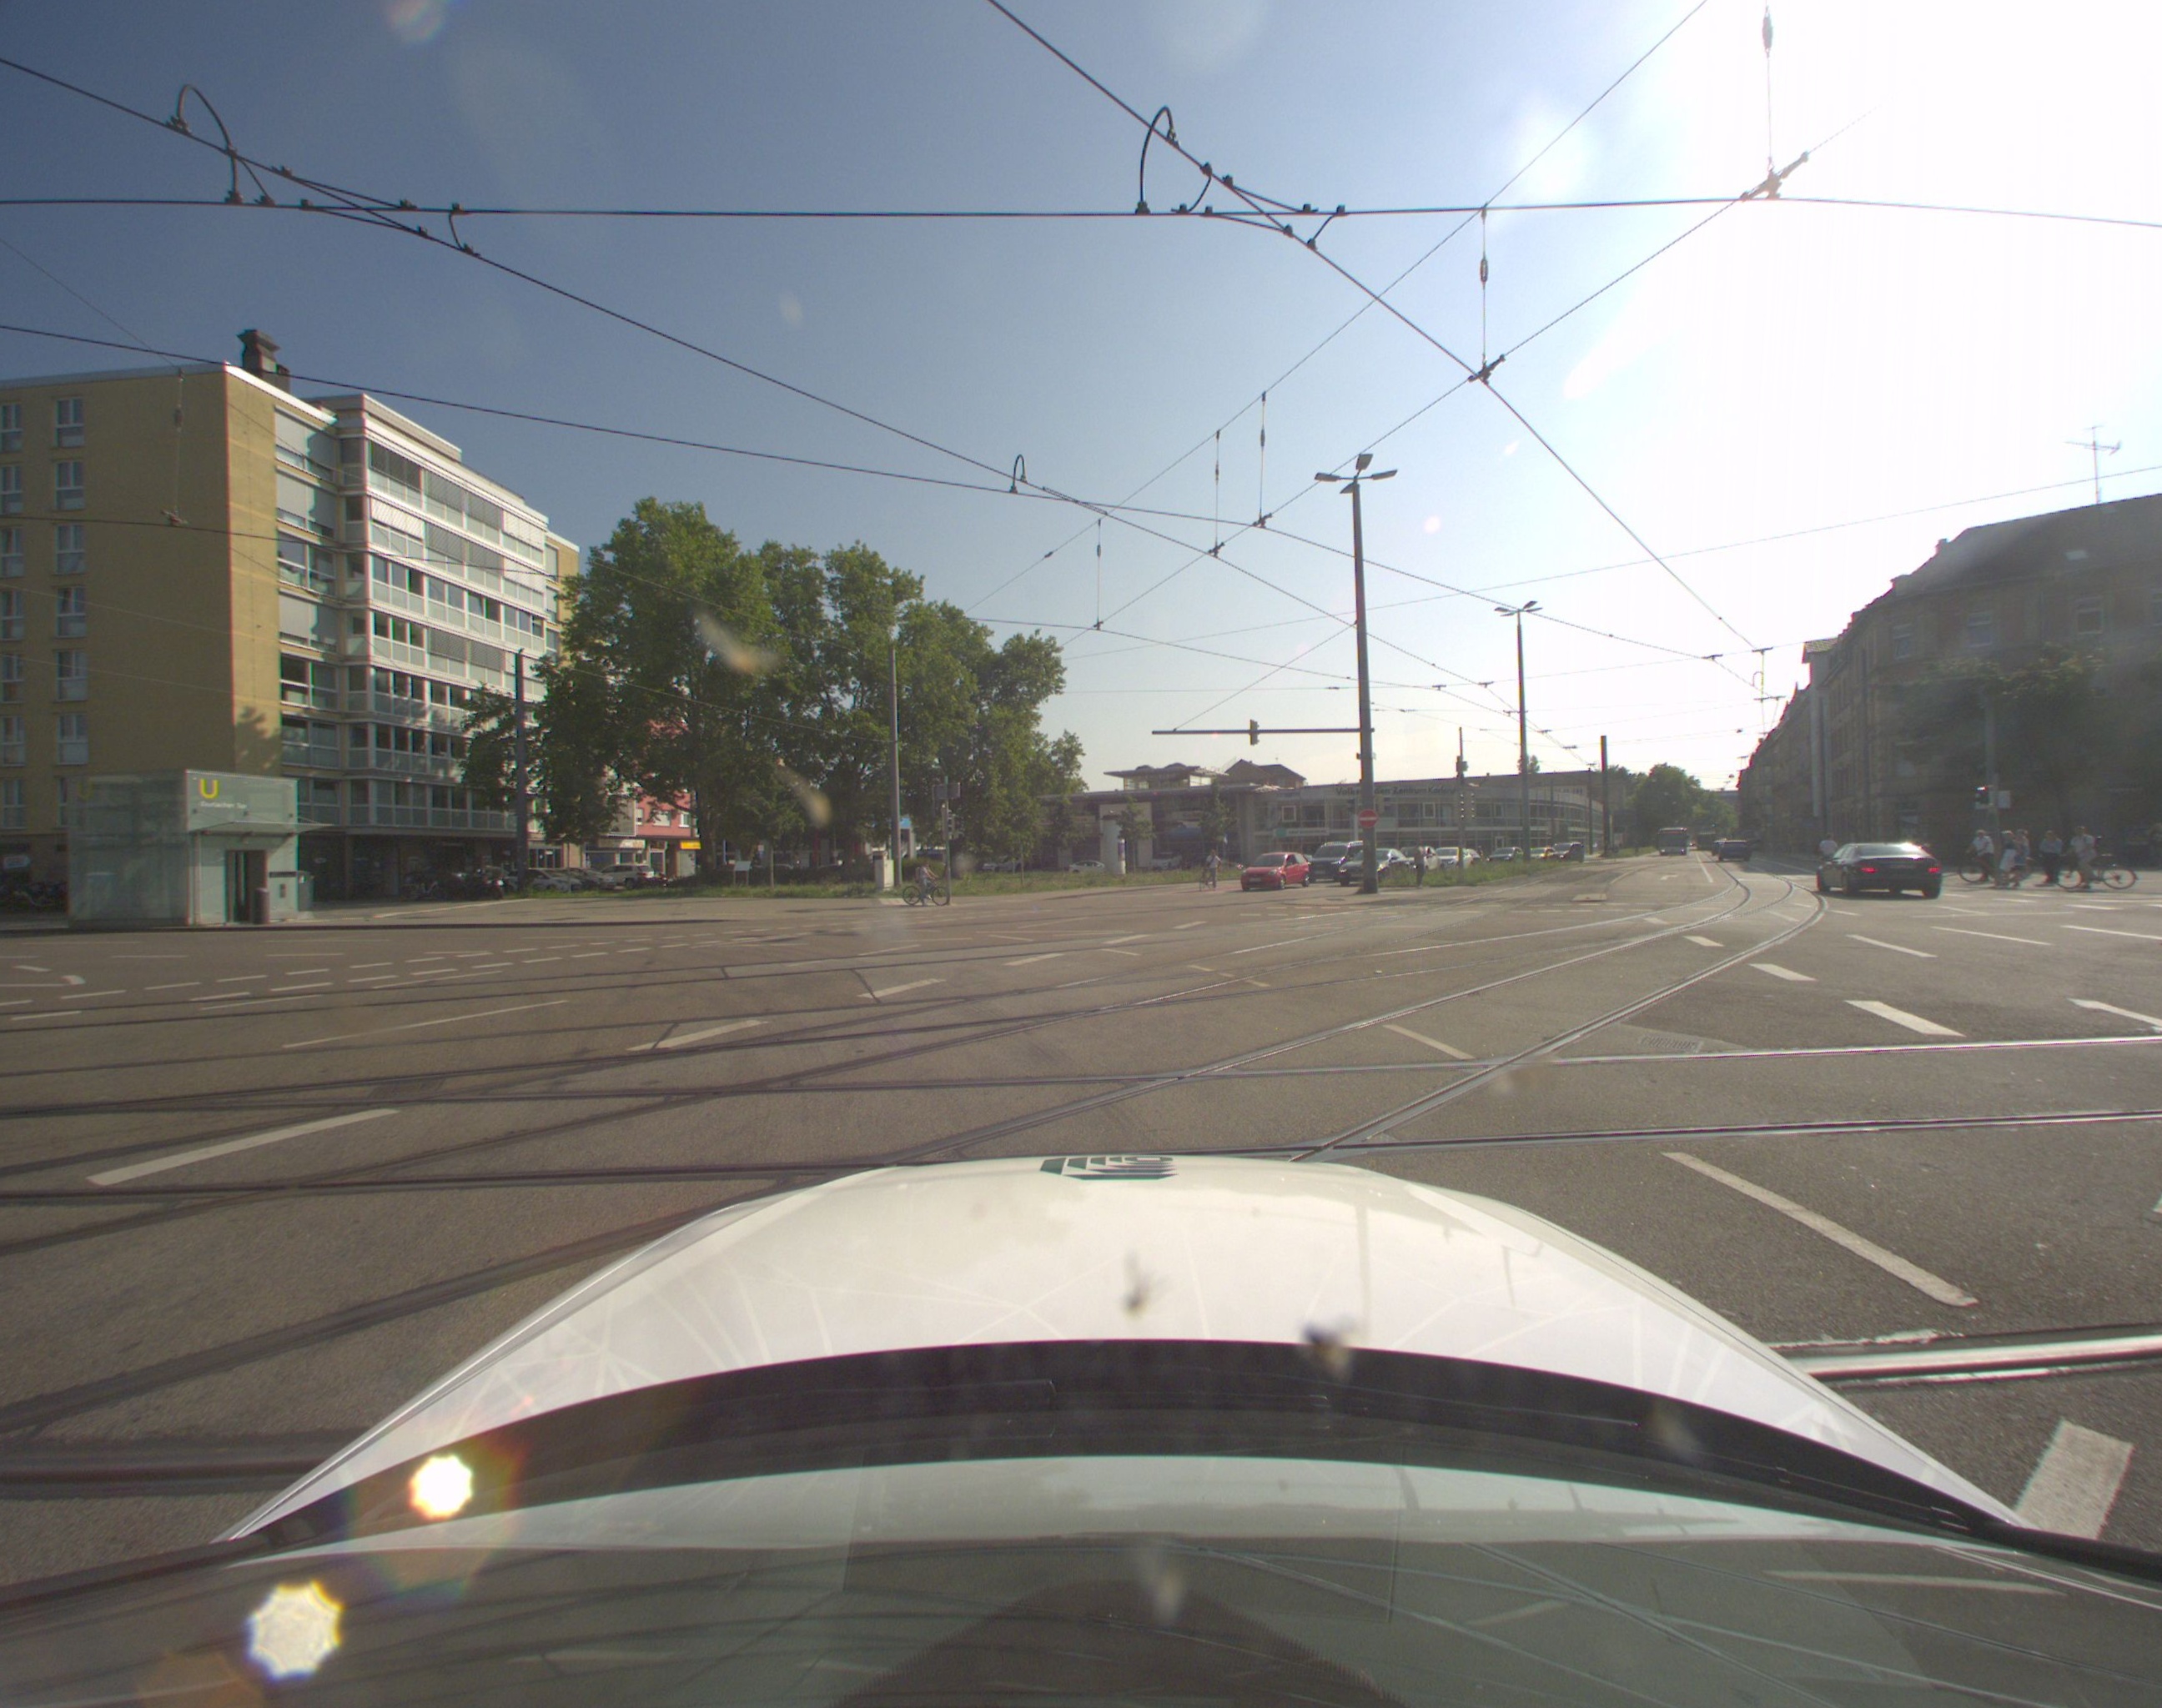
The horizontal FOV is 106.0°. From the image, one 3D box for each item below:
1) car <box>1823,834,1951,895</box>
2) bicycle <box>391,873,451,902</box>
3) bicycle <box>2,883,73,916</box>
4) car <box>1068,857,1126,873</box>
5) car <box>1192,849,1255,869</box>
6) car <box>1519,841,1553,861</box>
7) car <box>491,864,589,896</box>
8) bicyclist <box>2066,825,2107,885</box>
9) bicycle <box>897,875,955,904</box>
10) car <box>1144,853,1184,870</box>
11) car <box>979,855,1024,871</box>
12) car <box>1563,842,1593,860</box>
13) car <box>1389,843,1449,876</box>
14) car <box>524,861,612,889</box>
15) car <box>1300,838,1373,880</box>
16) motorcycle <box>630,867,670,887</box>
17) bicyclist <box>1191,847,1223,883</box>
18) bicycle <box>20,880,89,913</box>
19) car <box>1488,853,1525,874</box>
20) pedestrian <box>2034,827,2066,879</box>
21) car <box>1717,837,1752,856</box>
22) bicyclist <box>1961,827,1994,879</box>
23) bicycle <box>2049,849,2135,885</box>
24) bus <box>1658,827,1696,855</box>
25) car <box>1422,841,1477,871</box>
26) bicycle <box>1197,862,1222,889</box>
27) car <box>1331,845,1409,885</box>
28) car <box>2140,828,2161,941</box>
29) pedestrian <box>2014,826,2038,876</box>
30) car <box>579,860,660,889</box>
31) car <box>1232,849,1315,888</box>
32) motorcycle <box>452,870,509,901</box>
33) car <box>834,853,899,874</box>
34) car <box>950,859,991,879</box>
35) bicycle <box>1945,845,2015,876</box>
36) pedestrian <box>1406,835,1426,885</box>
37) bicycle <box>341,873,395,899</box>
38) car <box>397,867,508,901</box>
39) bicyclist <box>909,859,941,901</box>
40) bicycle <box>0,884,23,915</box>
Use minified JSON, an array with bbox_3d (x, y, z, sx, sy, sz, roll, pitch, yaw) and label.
[{"bbox_3d":[21.484,0.241,21.870,1.718,1.460,3.865,-2,0,34],"label":"car"},{"bbox_3d":[-30.403,1.534,37.513,2.285,1.235,0.524,-2,0,1],"label":"bicycle"},{"bbox_3d":[-42.694,1.857,33.327,1.986,1.261,0.604,-2,0,-3],"label":"bicycle"},{"bbox_3d":[1.316,0.911,66.883,4.345,1.165,2.011,-2,0,22],"label":"car"},{"bbox_3d":[10.990,0.374,62.800,4.343,1.370,2.012,-2,0,26],"label":"car"},{"bbox_3d":[36.478,-0.260,65.252,1.780,1.415,4.026,-2,0,37],"label":"car"},{"bbox_3d":[-29.241,1.383,44.080,3.966,1.507,2.004,-2,0,6],"label":"car"},{"bbox_3d":[29.276,0.033,23.717,0.579,1.730,0.599,-1,0,33],"label":"bicyclist"},{"bbox_3d":[-5.414,1.220,28.391,2.050,0.894,0.571,1,1,25],"label":"bicycle"},{"bbox_3d":[7.726,0.661,75.148,1.974,1.462,4.351,-1,0,31],"label":"car"},{"bbox_3d":[-8.061,0.916,82.769,4.082,1.462,1.976,-1,0,-40],"label":"car"},{"bbox_3d":[41.856,-0.295,68.574,1.780,1.415,4.026,-2,0,37],"label":"car"},{"bbox_3d":[16.063,0.240,38.634,1.780,1.435,3.580,-2,0,37],"label":"car"},{"bbox_3d":[-30.478,1.247,48.411,3.966,1.507,2.004,-2,0,6],"label":"car"},{"bbox_3d":[12.288,0.218,38.993,1.780,1.827,4.804,-2,0,37],"label":"car"},{"bbox_3d":[-22.351,1.204,42.221,1.933,1.001,0.709,-2,0,21],"label":"motorcycle"},{"bbox_3d":[5.273,0.455,34.084,1.075,1.475,0.977,-2,0,20],"label":"bicyclist"},{"bbox_3d":[-42.955,1.783,34.104,1.986,1.261,0.604,-2,0,-3],"label":"bicycle"},{"bbox_3d":[32.015,0.732,61.216,1.780,1.415,4.026,-2,0,37],"label":"car"},{"bbox_3d":[30.910,-0.028,25.977,0.499,1.641,0.527,-1,0,34],"label":"pedestrian"},{"bbox_3d":[49.233,-0.575,61.390,1.718,1.349,3.805,-2,0,34],"label":"car"},{"bbox_3d":[30.310,-0.035,27.537,0.579,1.717,0.652,-1,0,33],"label":"bicyclist"},{"bbox_3d":[29.382,0.372,23.690,1.507,1.025,0.436,-1,0,32],"label":"bicycle"},{"bbox_3d":[68.719,-1.506,93.781,2.861,2.984,11.571,-2,0,39],"label":"bus"},{"bbox_3d":[19.569,0.089,43.165,1.780,1.415,4.026,-2,0,37],"label":"car"},{"bbox_3d":[5.387,0.886,34.067,0.523,0.989,2.209,-3,0,21],"label":"bicycle"},{"bbox_3d":[11.952,0.410,33.493,1.780,1.451,4.378,-2,0,37],"label":"car"},{"bbox_3d":[13.970,0.418,8.398,1.891,1.475,4.770,-1,0,28],"label":"car"},{"bbox_3d":[32.584,-0.106,28.094,0.628,1.726,0.499,-1,0,-42],"label":"pedestrian"},{"bbox_3d":[-29.266,1.271,51.682,3.966,1.644,2.004,-2,0,6],"label":"car"},{"bbox_3d":[7.837,0.564,32.967,1.780,1.415,4.026,-2,0,37],"label":"car"},{"bbox_3d":[-24.082,1.268,32.668,2.274,1.147,0.709,-2,0,21],"label":"motorcycle"},{"bbox_3d":[-15.298,0.659,58.226,3.968,1.376,2.003,-2,0,4],"label":"car"},{"bbox_3d":[-11.640,1.631,85.770,3.948,2.013,1.959,-1,0,31],"label":"car"},{"bbox_3d":[30.317,0.225,27.493,1.507,1.025,0.436,-1,0,30],"label":"bicycle"},{"bbox_3d":[11.775,0.211,28.659,0.519,1.730,0.602,-1,0,32],"label":"pedestrian"},{"bbox_3d":[-34.878,1.555,39.875,0.665,1.183,2.027,-2,1,6],"label":"bicycle"},{"bbox_3d":[-30.088,1.425,39.049,4.159,1.441,1.665,-2,0,6],"label":"car"},{"bbox_3d":[-5.431,0.911,28.391,0.810,1.427,0.735,-1,0,24],"label":"bicyclist"},{"bbox_3d":[-45.876,1.921,34.286,1.981,1.261,0.605,-2,0,5],"label":"bicycle"}]
